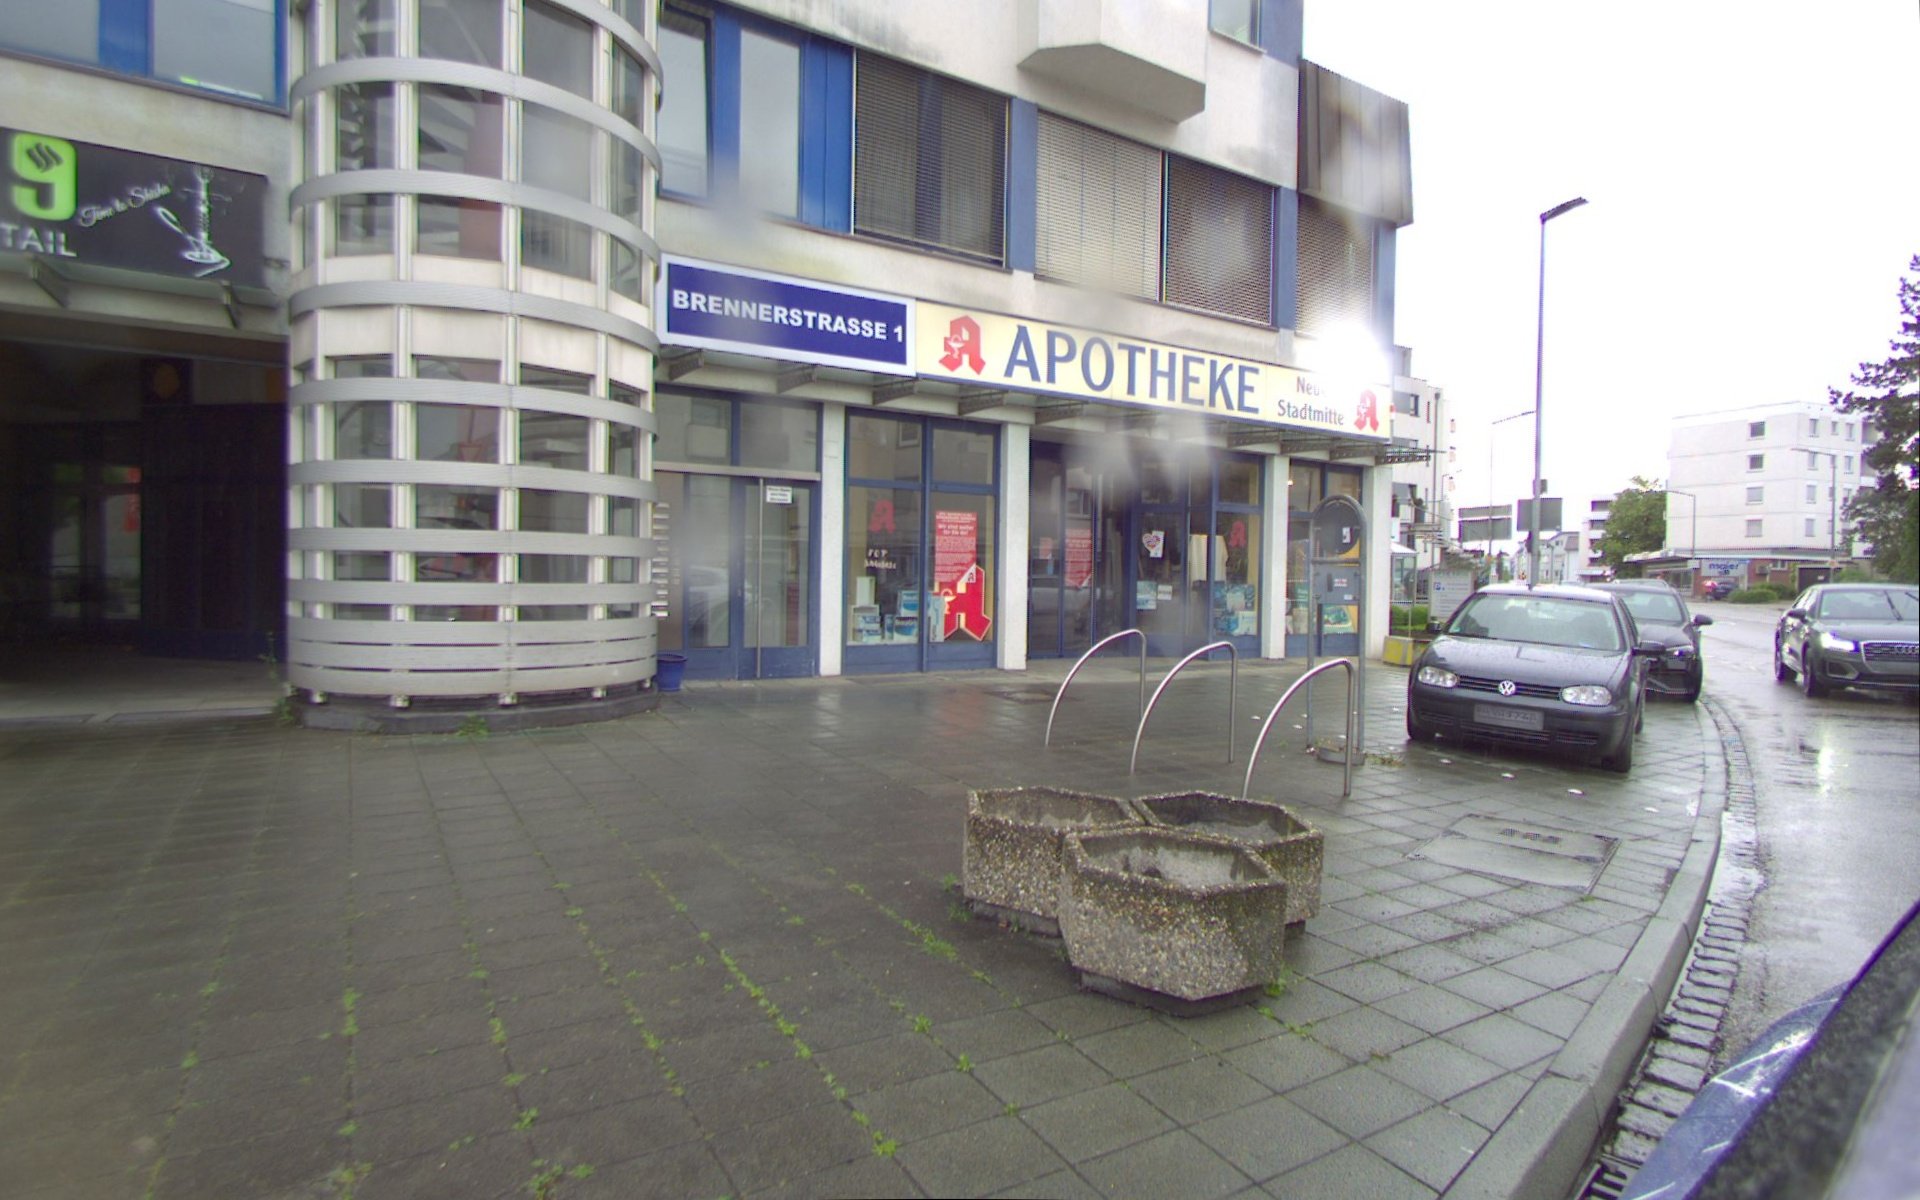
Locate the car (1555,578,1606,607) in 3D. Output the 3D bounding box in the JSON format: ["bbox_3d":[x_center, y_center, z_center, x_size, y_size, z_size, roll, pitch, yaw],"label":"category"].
[{"bbox_3d":[32.952,-0.449,53.828,1.783,1.385,3.941,1,3,25],"label":"car"}]

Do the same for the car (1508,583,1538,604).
[{"bbox_3d":[44.405,-0.518,79.924,1.982,1.635,3.961,-1,1,28],"label":"car"}]

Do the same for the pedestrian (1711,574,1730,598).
[{"bbox_3d":[57.000,-1.036,75.837,0.845,1.757,0.831,1,2,20],"label":"pedestrian"}]

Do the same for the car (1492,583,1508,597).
[{"bbox_3d":[69.104,-1.317,129.543,1.729,1.660,3.962,1,2,28],"label":"car"}]

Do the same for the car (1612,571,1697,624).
[{"bbox_3d":[22.103,-0.099,32.340,1.718,1.547,4.024,2,1,27],"label":"car"}]

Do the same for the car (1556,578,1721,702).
[{"bbox_3d":[9.433,0.428,14.019,1.650,1.442,3.949,2,2,36],"label":"car"}]

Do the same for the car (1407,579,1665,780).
[{"bbox_3d":[5.498,0.547,9.438,1.646,1.388,3.683,5,4,36],"label":"car"}]

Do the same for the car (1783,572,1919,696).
[{"bbox_3d":[12.712,0.371,13.936,1.723,1.462,3.999,1,2,33],"label":"car"}]
